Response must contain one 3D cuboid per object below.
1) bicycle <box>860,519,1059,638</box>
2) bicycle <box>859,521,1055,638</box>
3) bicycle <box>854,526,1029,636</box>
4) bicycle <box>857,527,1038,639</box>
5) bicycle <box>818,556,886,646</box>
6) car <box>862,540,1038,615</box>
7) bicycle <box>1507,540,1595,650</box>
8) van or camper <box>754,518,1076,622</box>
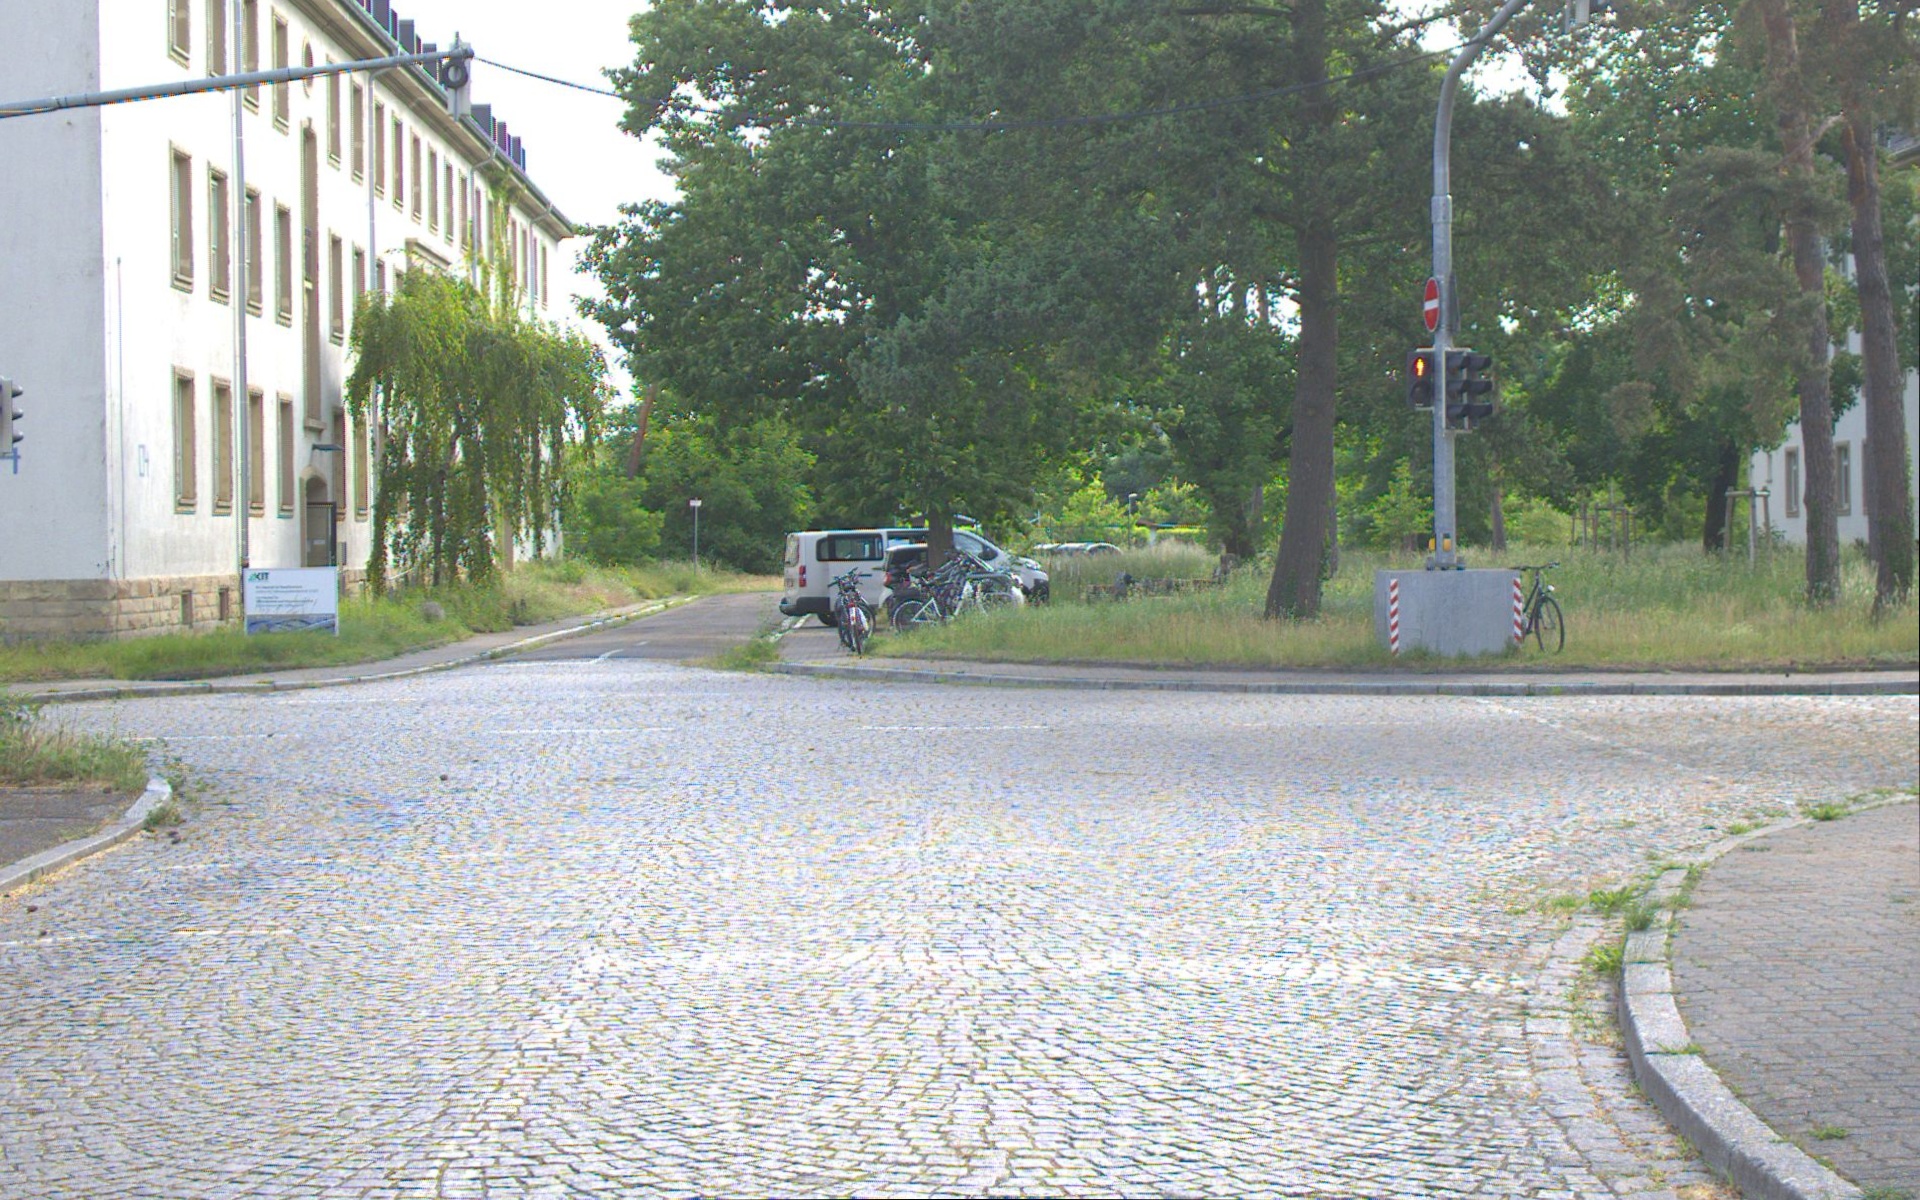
[{"bbox_3d":[-0.012,-0.323,50.052,2.775,1.688,1.120,-1,1,-6],"label":"bicycle"},{"bbox_3d":[-0.061,-0.316,51.246,2.775,1.688,1.120,-1,1,-8],"label":"bicycle"},{"bbox_3d":[-0.295,-0.317,56.149,2.775,1.688,1.120,2,1,0],"label":"bicycle"},{"bbox_3d":[-0.185,-0.280,54.812,2.776,1.688,1.120,2,1,3],"label":"bicycle"},{"bbox_3d":[-1.427,-0.003,45.761,0.725,1.104,2.462,-5,1,0],"label":"bicycle"},{"bbox_3d":[-0.200,-0.435,64.446,3.137,1.349,1.620,-1,1,-6],"label":"car"},{"bbox_3d":[6.568,-0.071,38.325,0.724,1.165,2.736,1,1,5],"label":"bicycle"},{"bbox_3d":[-0.900,-0.609,68.014,6.030,1.942,2.001,-1,1,-14],"label":"van or camper"}]
